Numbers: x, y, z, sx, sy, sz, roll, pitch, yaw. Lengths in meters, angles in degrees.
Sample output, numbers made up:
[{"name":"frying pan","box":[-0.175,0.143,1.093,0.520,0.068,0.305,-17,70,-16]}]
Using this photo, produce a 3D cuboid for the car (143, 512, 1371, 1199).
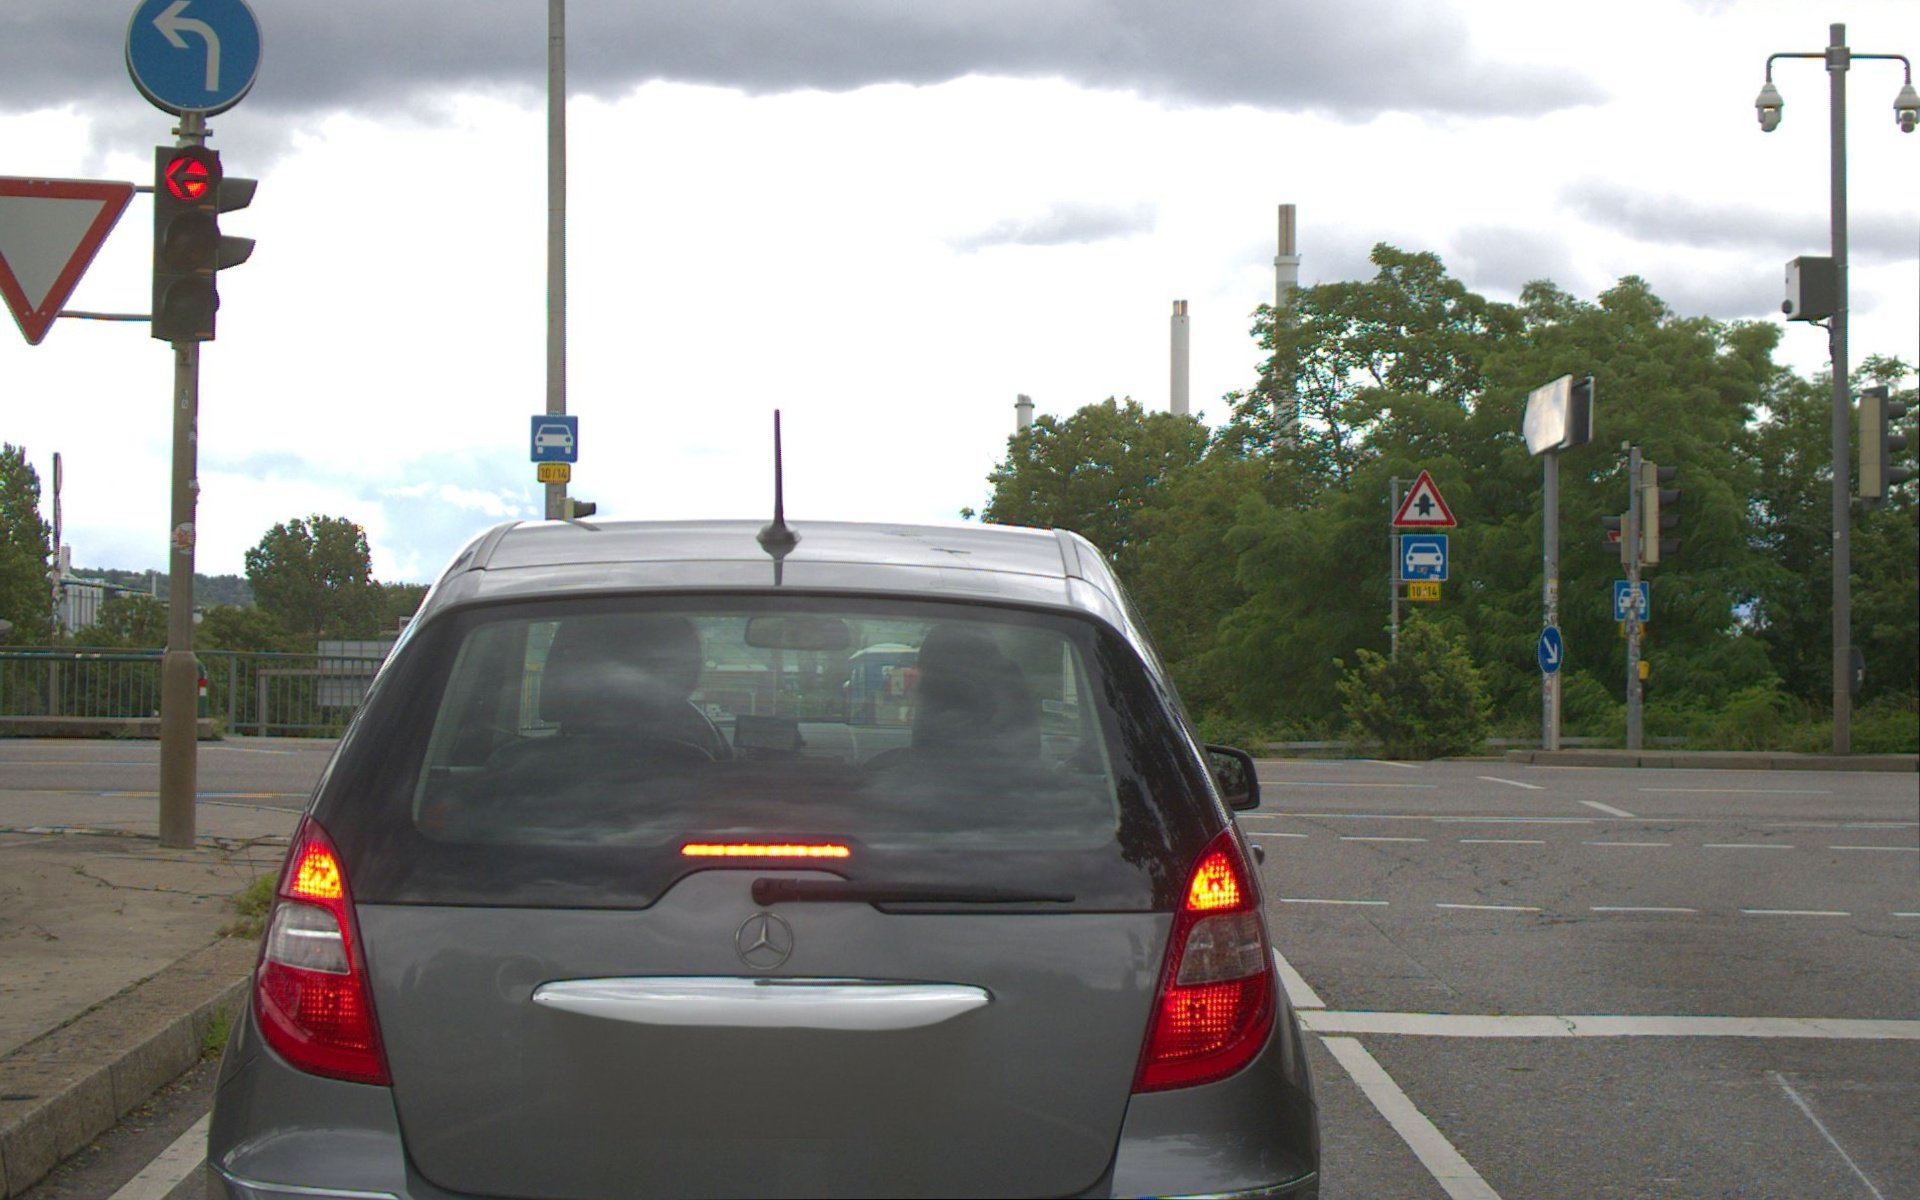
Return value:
[{"name":"car","box":[-0.308,0.637,6.679,1.739,1.538,3.541,1,1,0]}]
